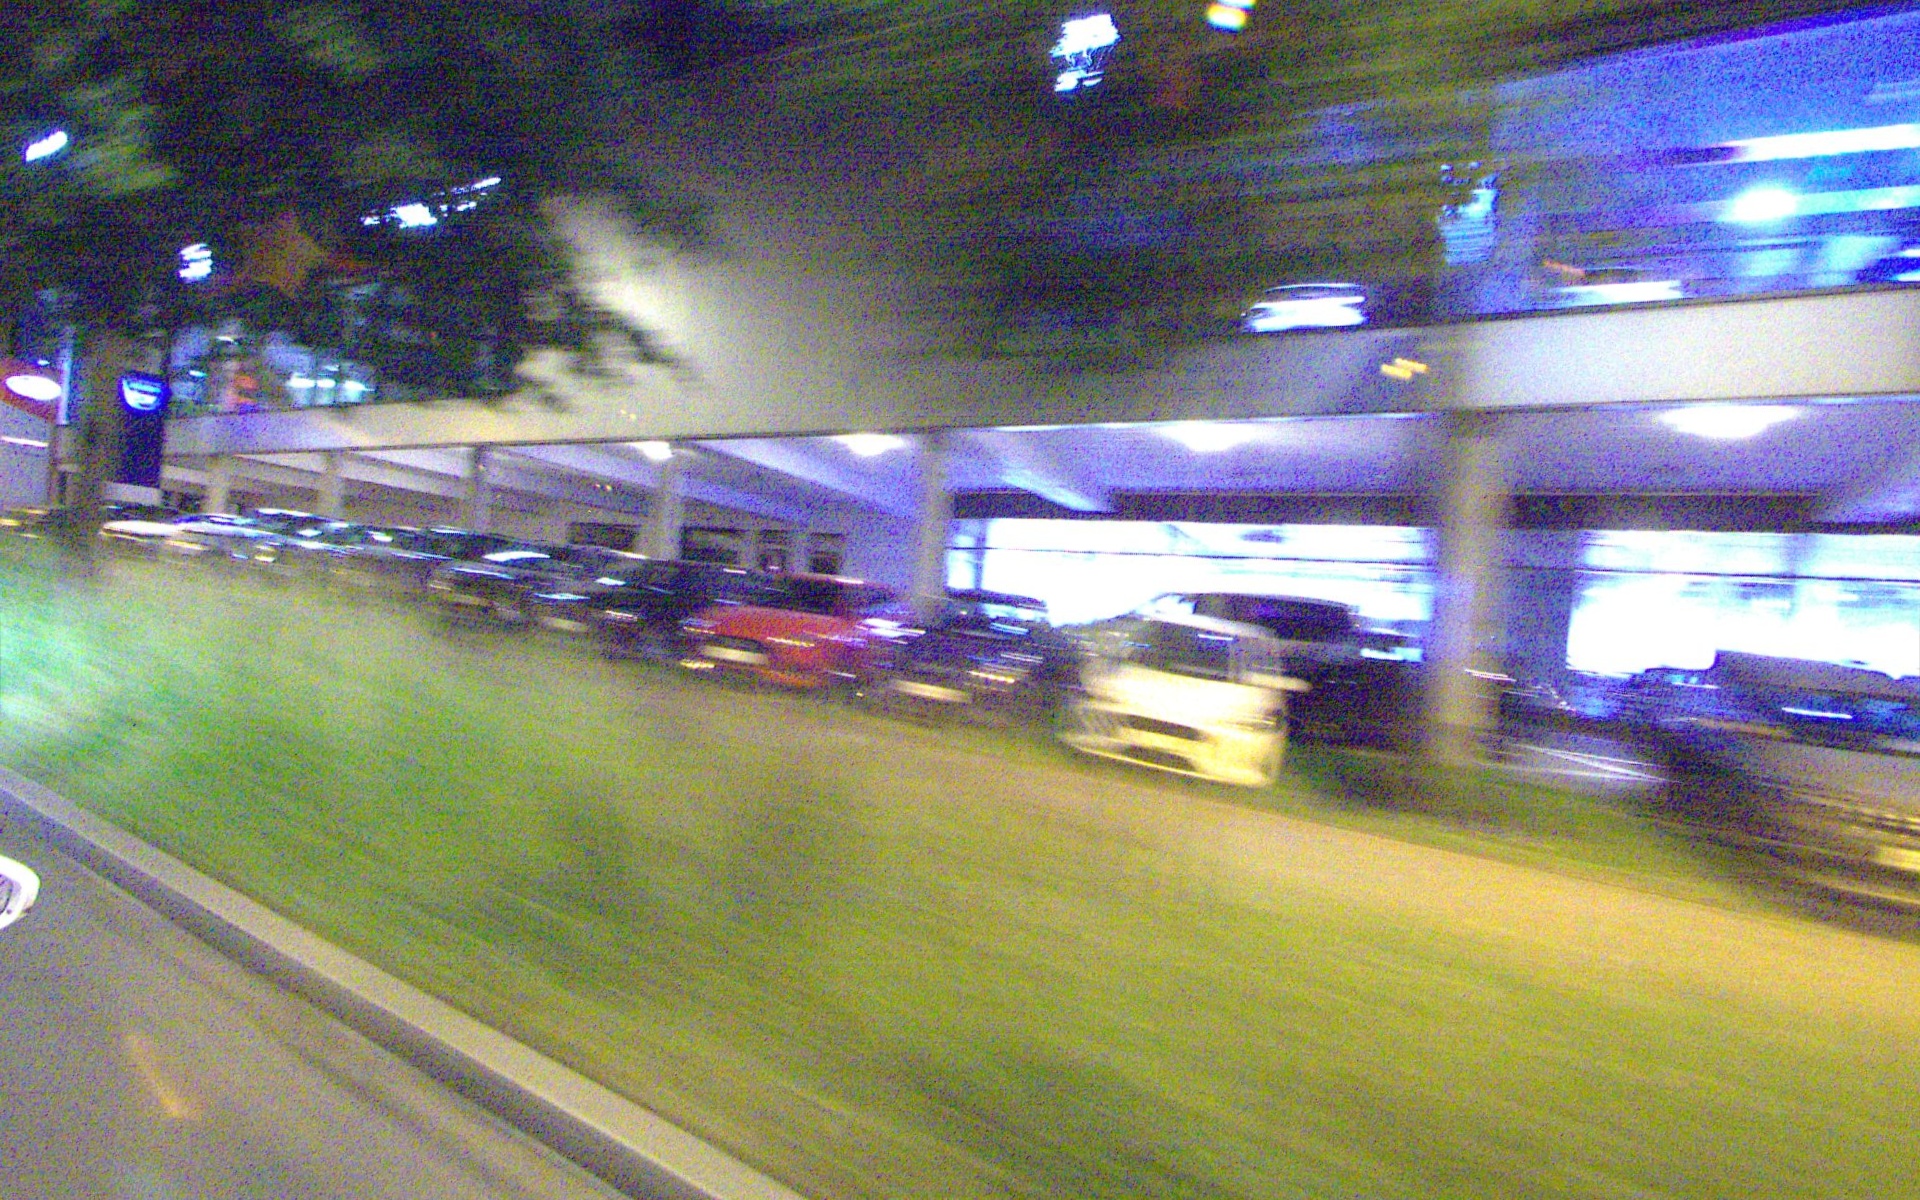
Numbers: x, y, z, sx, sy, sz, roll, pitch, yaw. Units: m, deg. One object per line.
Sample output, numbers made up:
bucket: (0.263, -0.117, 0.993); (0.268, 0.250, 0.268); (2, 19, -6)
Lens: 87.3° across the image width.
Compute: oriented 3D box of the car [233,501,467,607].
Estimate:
car: (-11.068, -0.764, 18.570); (1.648, 1.450, 3.617); (7, -1, 8)

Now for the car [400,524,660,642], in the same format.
car: (-6.606, -0.234, 15.985); (1.791, 1.409, 4.000); (8, 1, 9)

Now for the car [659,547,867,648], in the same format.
car: (-3.865, -0.044, 20.202); (3.725, 1.482, 1.625); (7, 0, -2)

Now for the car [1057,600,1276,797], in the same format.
car: (2.317, 0.834, 10.494); (1.685, 1.472, 3.811); (7, 2, 18)

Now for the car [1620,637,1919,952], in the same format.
car: (6.749, 1.270, 7.814); (1.737, 1.569, 4.466); (6, 3, 22)

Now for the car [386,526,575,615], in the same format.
car: (-11.737, -0.692, 24.834); (3.802, 1.818, 1.587); (5, 0, -9)

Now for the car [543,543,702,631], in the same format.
car: (-7.422, -0.279, 22.350); (3.021, 1.504, 1.319); (8, 0, -9)

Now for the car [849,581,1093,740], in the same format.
car: (0.304, 0.561, 11.881); (1.684, 1.398, 3.774); (7, 3, 18)

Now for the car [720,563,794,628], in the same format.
car: (-6.187, -0.096, 31.073); (1.628, 1.674, 4.319); (7, -1, -5)

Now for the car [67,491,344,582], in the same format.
car: (-15.688, -1.245, 21.321); (1.910, 1.279, 4.647); (8, -1, 7)

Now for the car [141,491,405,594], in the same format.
car: (-13.436, -1.054, 20.003); (1.873, 1.441, 4.003); (8, -1, 14)

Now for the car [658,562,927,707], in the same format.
car: (-1.948, 0.333, 13.041); (1.791, 1.392, 4.031); (7, 3, 16)

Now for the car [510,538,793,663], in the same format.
car: (-4.310, 0.020, 14.738); (1.775, 1.399, 3.996); (7, 2, 21)

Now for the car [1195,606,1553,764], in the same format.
car: (5.515, 1.109, 13.708); (3.931, 1.550, 1.988); (6, 1, -9)

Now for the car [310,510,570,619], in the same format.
car: (-8.834, -0.544, 17.531); (1.798, 1.489, 3.999); (7, 1, 12)

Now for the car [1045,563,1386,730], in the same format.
car: (3.940, 0.729, 15.960); (4.742, 1.940, 1.834); (7, -1, -5)

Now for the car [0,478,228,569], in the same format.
car: (-19.973, -1.753, 23.580); (1.841, 1.436, 4.139); (7, -2, 18)
